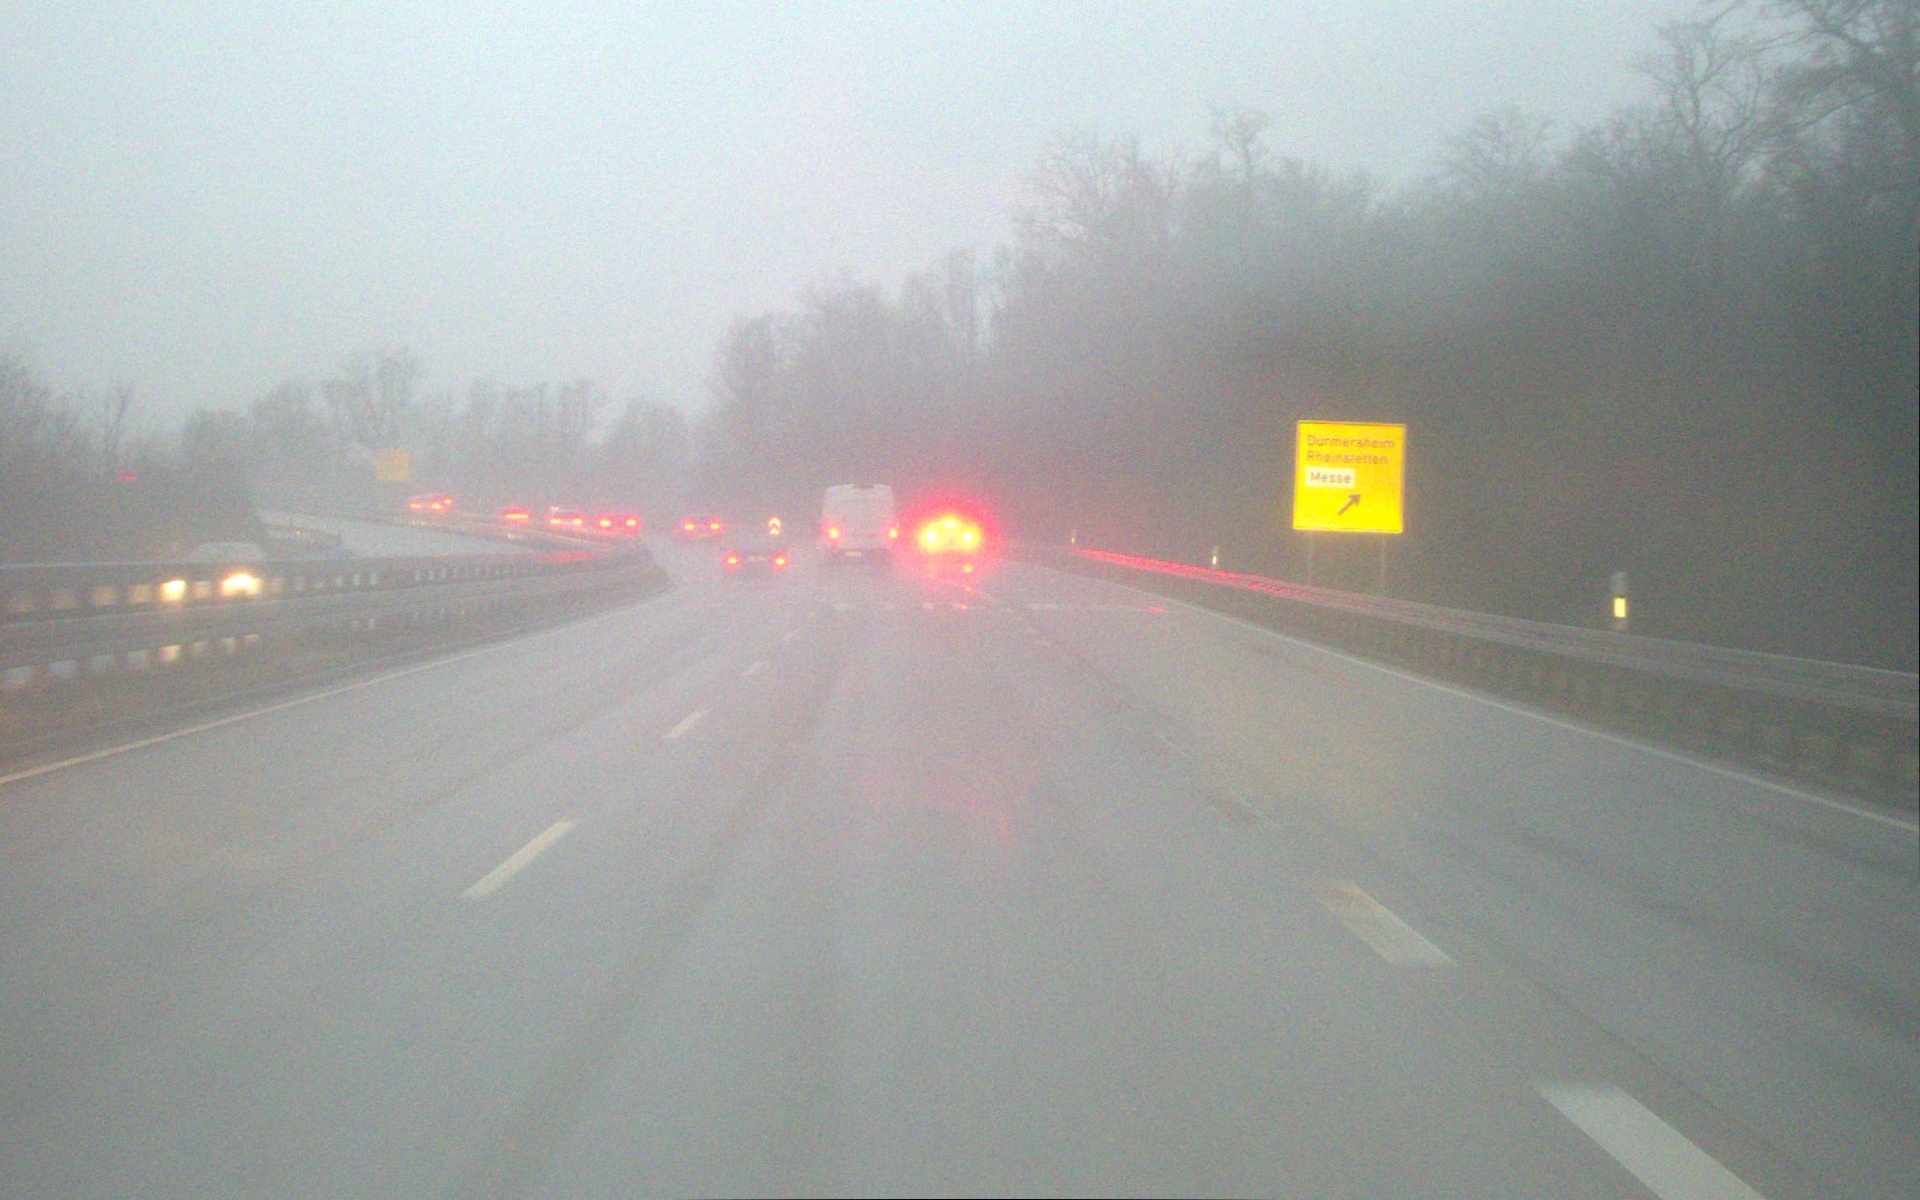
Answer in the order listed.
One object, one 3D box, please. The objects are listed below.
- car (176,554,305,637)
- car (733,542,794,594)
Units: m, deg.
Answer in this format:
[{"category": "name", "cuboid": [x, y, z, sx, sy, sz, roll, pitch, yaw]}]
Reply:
[{"category": "car", "cuboid": [-14.485, -0.114, 69.424, 1.763, 1.621, 4.527, 0, 1, -1]}, {"category": "car", "cuboid": [-5.173, -0.848, 90.704, 1.416, 1.312, 3.083, 2, 1, 0]}]
